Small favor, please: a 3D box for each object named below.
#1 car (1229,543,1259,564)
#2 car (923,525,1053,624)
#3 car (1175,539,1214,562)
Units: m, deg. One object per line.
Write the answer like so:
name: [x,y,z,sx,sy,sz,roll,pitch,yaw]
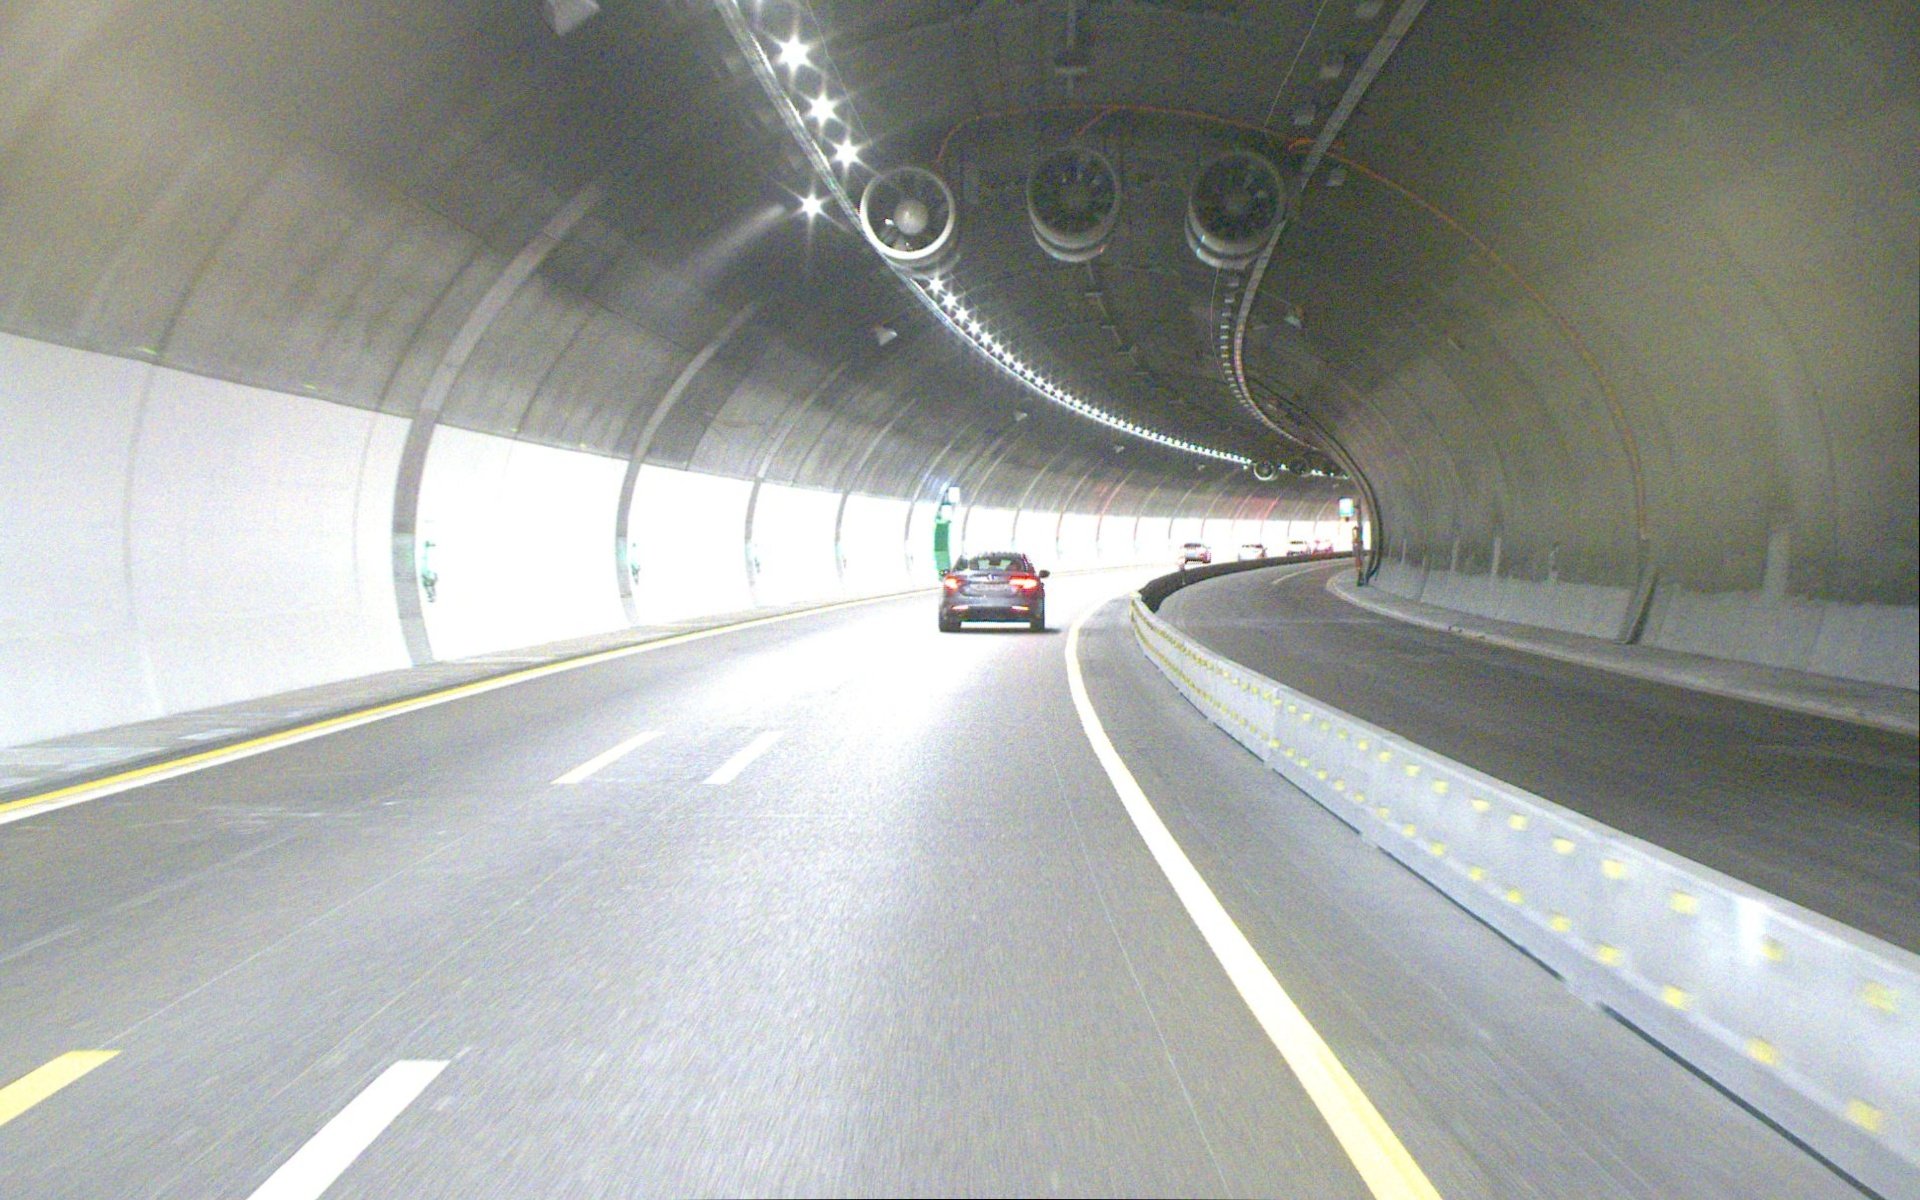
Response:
car: [18.989,-3.107,229.581,1.596,1.328,3.749,1,1,11]
car: [0.534,-0.481,61.644,2.141,1.700,4.000,0,1,3]
car: [15.613,-3.321,228.401,2.166,1.481,3.999,1,1,10]
